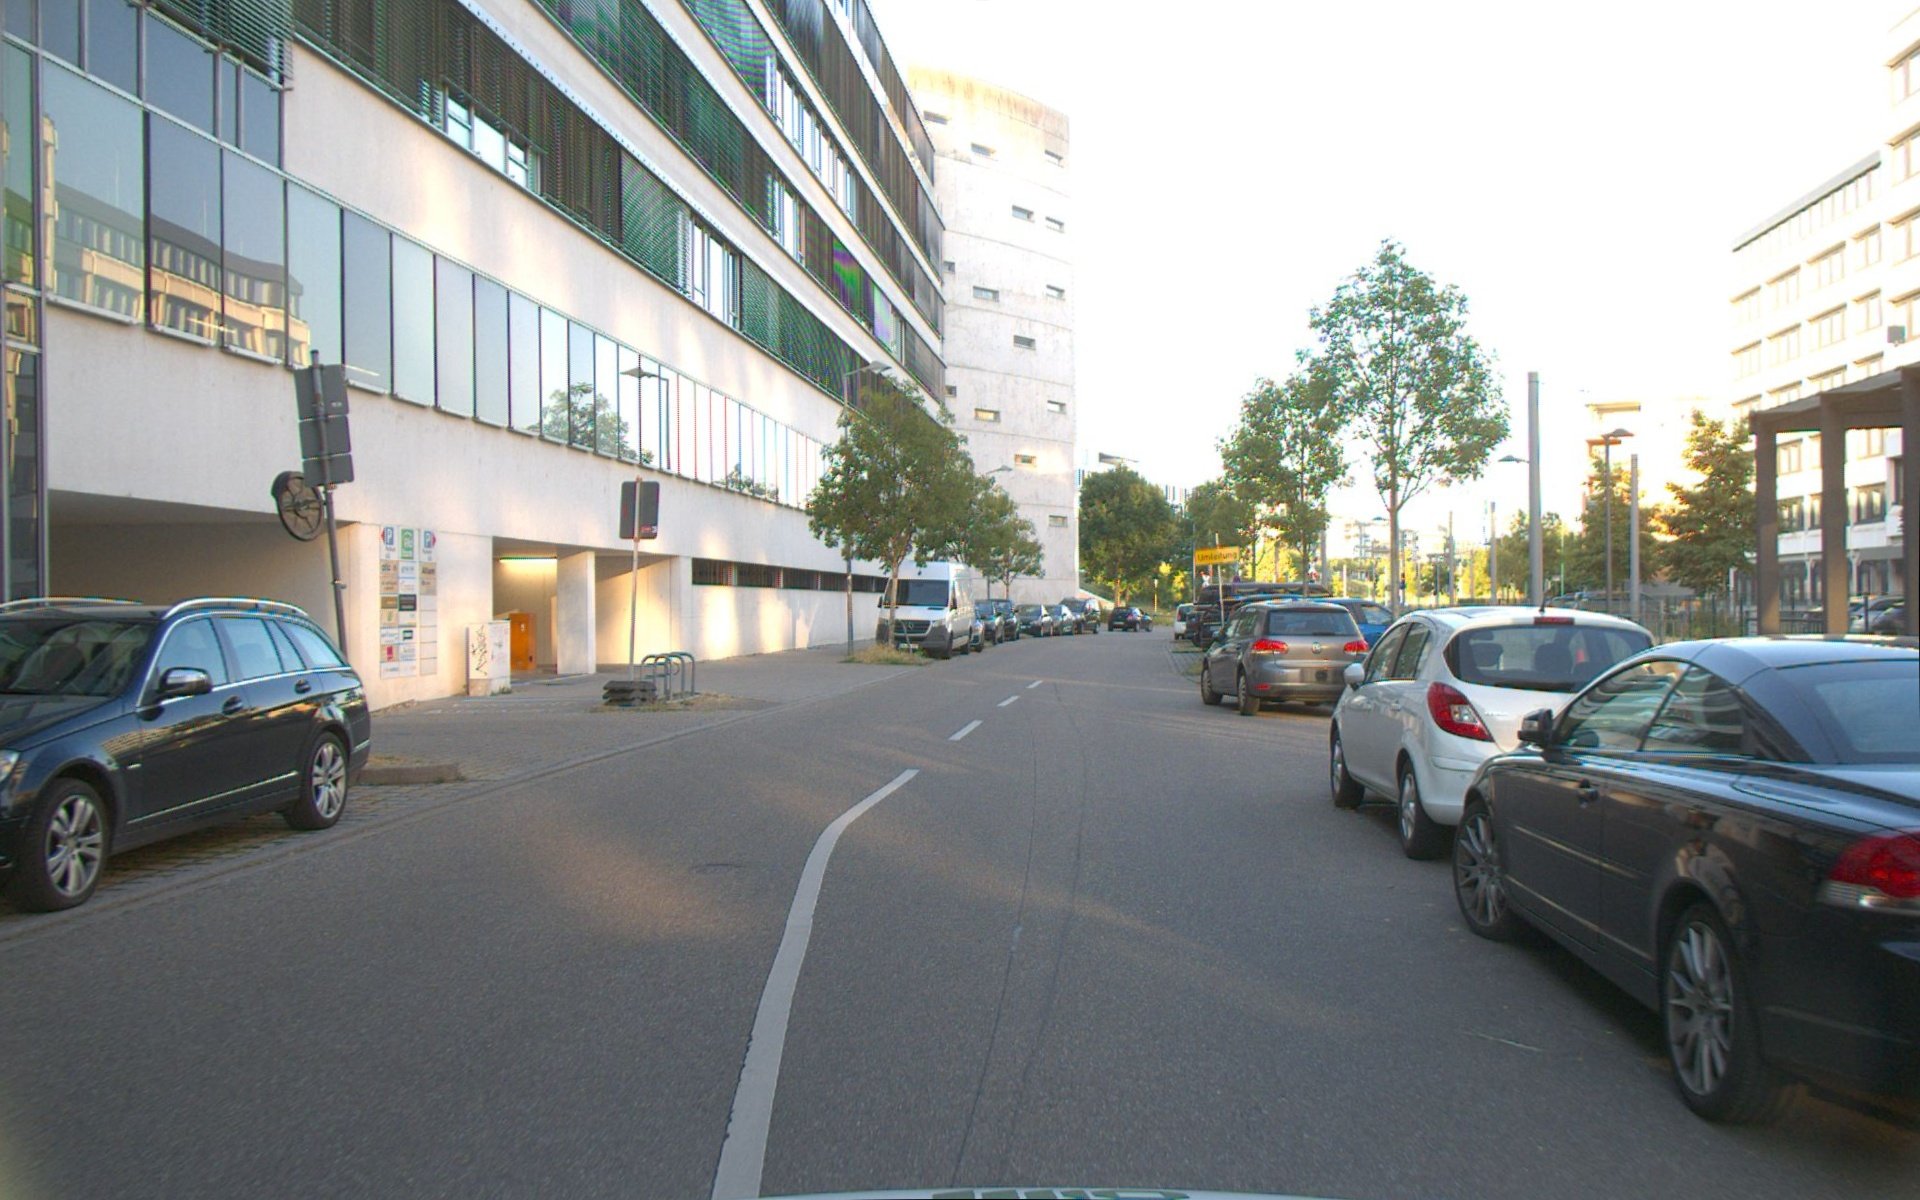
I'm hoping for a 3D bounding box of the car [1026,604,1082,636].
[{"bbox_3d":[4.613,0.959,80.699,1.686,1.483,4.696,1,0,17],"label":"car"}]

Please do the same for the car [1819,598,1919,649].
[{"bbox_3d":[27.868,0.699,49.037,3.903,1.422,1.593,2,0,5],"label":"car"}]

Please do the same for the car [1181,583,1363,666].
[{"bbox_3d":[8.218,0.641,43.530,4.534,2.071,1.855,1,0,-28],"label":"car"}]

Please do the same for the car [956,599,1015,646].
[{"bbox_3d":[0.960,0.799,60.766,1.718,1.588,4.046,1,0,7],"label":"car"}]

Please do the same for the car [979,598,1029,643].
[{"bbox_3d":[1.805,0.794,66.869,1.719,1.682,3.951,1,0,6],"label":"car"}]

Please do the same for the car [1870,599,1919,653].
[{"bbox_3d":[27.094,0.740,44.836,3.903,1.422,1.593,2,0,5],"label":"car"}]

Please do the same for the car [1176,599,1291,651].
[{"bbox_3d":[9.680,0.876,58.483,3.721,1.756,1.749,1,0,-27],"label":"car"}]

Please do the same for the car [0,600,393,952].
[{"bbox_3d":[-4.810,0.749,9.141,1.679,1.477,4.400,0,0,2],"label":"car"}]

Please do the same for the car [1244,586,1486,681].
[{"bbox_3d":[7.238,0.581,29.507,3.943,1.547,1.909,-1,-1,-29],"label":"car"}]

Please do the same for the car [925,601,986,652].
[{"bbox_3d":[-0.111,0.799,51.983,1.719,1.465,3.902,1,0,2],"label":"car"}]

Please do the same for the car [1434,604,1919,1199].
[{"bbox_3d":[3.129,0.773,6.008,1.749,1.477,4.517,0,0,3],"label":"car"}]

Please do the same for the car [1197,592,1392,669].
[{"bbox_3d":[8.170,0.741,40.354,4.534,1.779,1.855,1,0,-28],"label":"car"}]

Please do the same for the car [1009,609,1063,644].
[{"bbox_3d":[3.470,1.189,75.154,1.686,1.483,4.275,1,0,13],"label":"car"}]

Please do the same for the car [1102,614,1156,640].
[{"bbox_3d":[9.801,1.531,95.602,1.905,1.407,4.398,1,0,23],"label":"car"}]

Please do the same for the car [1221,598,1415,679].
[{"bbox_3d":[7.698,0.827,35.467,3.944,1.623,1.720,2,-1,-30],"label":"car"}]

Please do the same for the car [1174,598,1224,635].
[{"bbox_3d":[10.151,0.682,70.125,1.686,1.493,3.555,-1,0,14],"label":"car"}]

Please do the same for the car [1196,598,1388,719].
[{"bbox_3d":[4.521,0.766,23.079,1.696,1.491,3.998,2,-1,-2],"label":"car"}]

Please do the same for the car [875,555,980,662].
[{"bbox_3d":[-0.789,0.201,45.582,1.917,2.662,6.897,1,0,7],"label":"car"}]

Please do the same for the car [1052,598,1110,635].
[{"bbox_3d":[6.279,0.822,85.553,1.721,1.830,4.463,1,0,22],"label":"car"}]

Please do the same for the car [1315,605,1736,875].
[{"bbox_3d":[3.560,0.777,11.209,1.641,1.477,4.189,0,0,4],"label":"car"}]
